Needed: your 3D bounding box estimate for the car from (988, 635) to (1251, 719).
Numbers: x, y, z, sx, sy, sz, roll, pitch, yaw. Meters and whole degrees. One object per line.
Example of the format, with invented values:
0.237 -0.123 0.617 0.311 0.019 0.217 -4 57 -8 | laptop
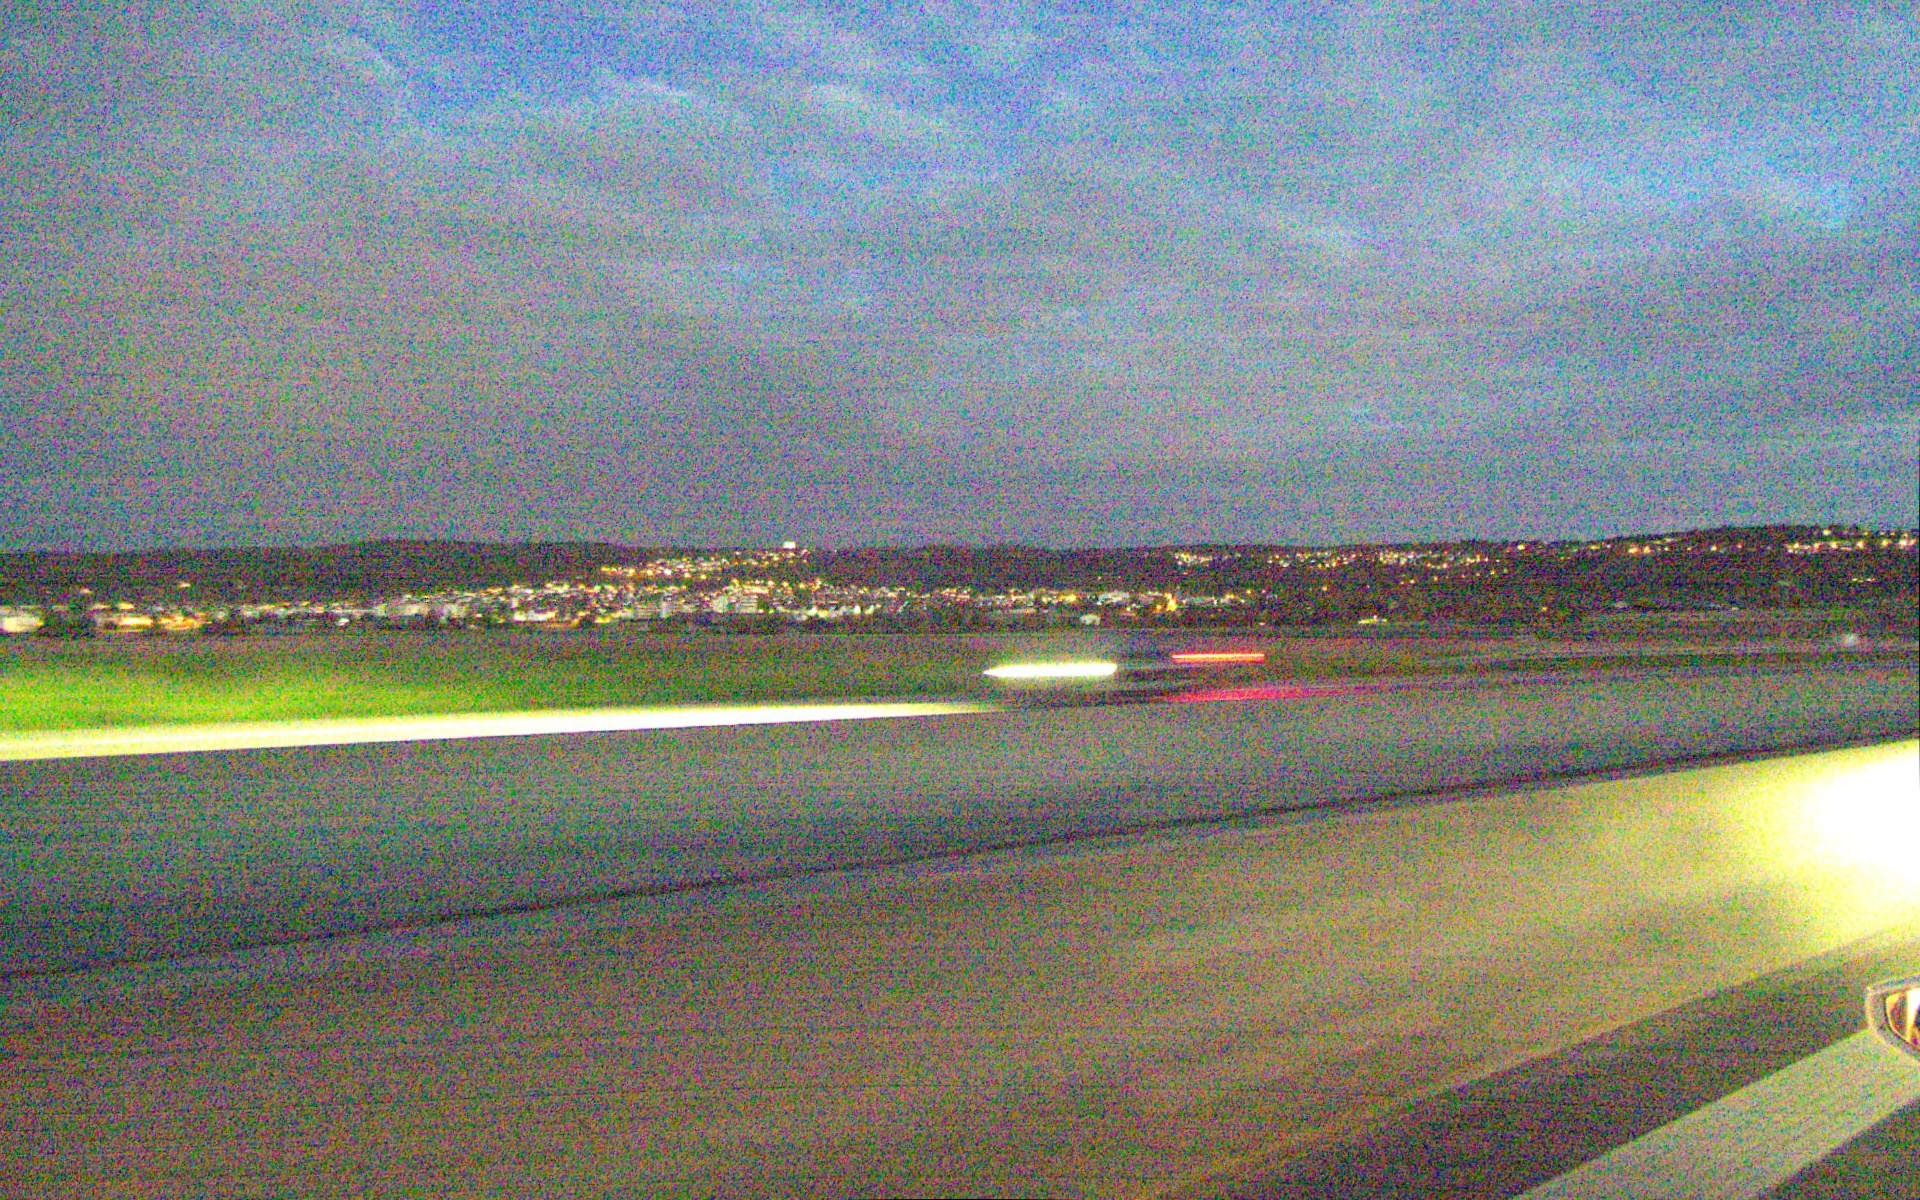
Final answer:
3.136 1.425 19.383 4.927 1.437 1.983 1 -3 -32 | car
